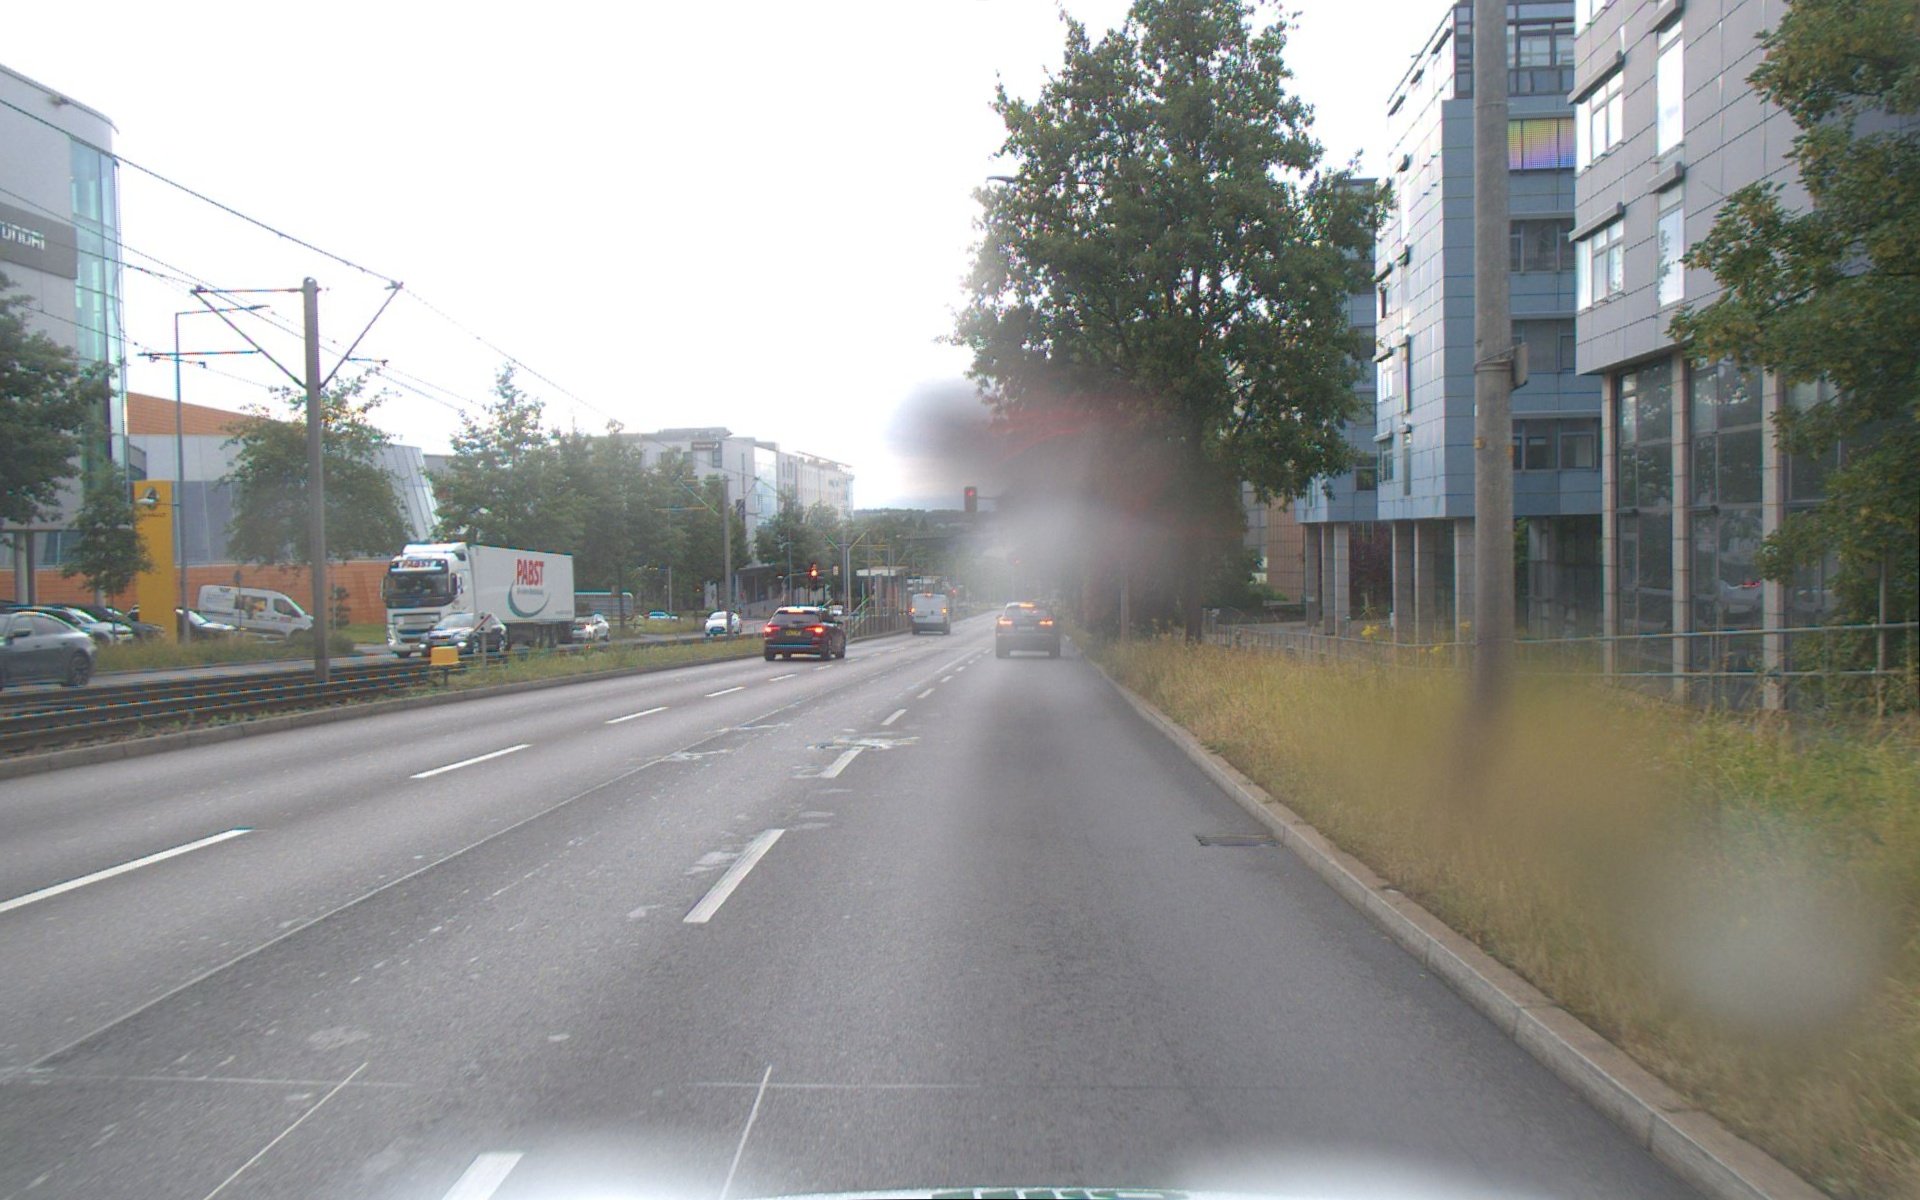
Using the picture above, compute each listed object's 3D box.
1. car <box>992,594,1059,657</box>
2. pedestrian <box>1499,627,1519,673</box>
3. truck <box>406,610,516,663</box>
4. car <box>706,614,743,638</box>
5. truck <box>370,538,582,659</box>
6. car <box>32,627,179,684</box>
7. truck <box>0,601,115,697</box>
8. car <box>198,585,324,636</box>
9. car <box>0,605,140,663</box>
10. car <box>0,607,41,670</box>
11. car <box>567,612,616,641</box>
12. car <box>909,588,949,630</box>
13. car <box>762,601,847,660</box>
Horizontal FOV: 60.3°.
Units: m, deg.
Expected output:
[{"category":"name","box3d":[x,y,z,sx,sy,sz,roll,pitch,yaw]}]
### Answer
[{"category":"car","box3d":[1.935,0.720,49.884,1.883,1.740,4.098,0,1,0]},{"category":"pedestrian","box3d":[17.352,1.584,52.237,0.492,1.433,0.457,0,-1,3]},{"category":"truck","box3d":[-16.516,1.185,54.974,1.901,1.595,4.547,-2,-1,5]},{"category":"car","box3d":[-14.442,1.600,101.549,1.628,1.467,3.897,0,-1,1]},{"category":"truck","box3d":[-19.114,-0.157,67.196,2.979,4.253,17.207,0,1,2]},{"category":"car","box3d":[-32.555,2.103,63.082,4.511,2.011,2.018,-1,0,-4]},{"category":"truck","box3d":[-16.940,0.877,28.834,1.902,1.595,4.594,-2,-1,2]},{"category":"car","box3d":[-32.833,0.511,77.848,5.216,2.353,2.011,0,-1,-16]},{"category":"car","box3d":[-32.577,1.220,60.093,4.511,2.011,2.018,-1,0,-4]},{"category":"car","box3d":[-32.586,1.275,53.531,4.511,2.011,2.018,-1,0,-4]},{"category":"car","box3d":[-20.367,1.447,91.497,1.628,1.571,3.898,0,-1,3]},{"category":"car","box3d":[-1.823,0.508,95.471,2.222,2.324,4.757,0,1,-3]},{"category":"car","box3d":[-4.209,0.799,45.518,1.749,1.438,4.807,0,1,2]}]
